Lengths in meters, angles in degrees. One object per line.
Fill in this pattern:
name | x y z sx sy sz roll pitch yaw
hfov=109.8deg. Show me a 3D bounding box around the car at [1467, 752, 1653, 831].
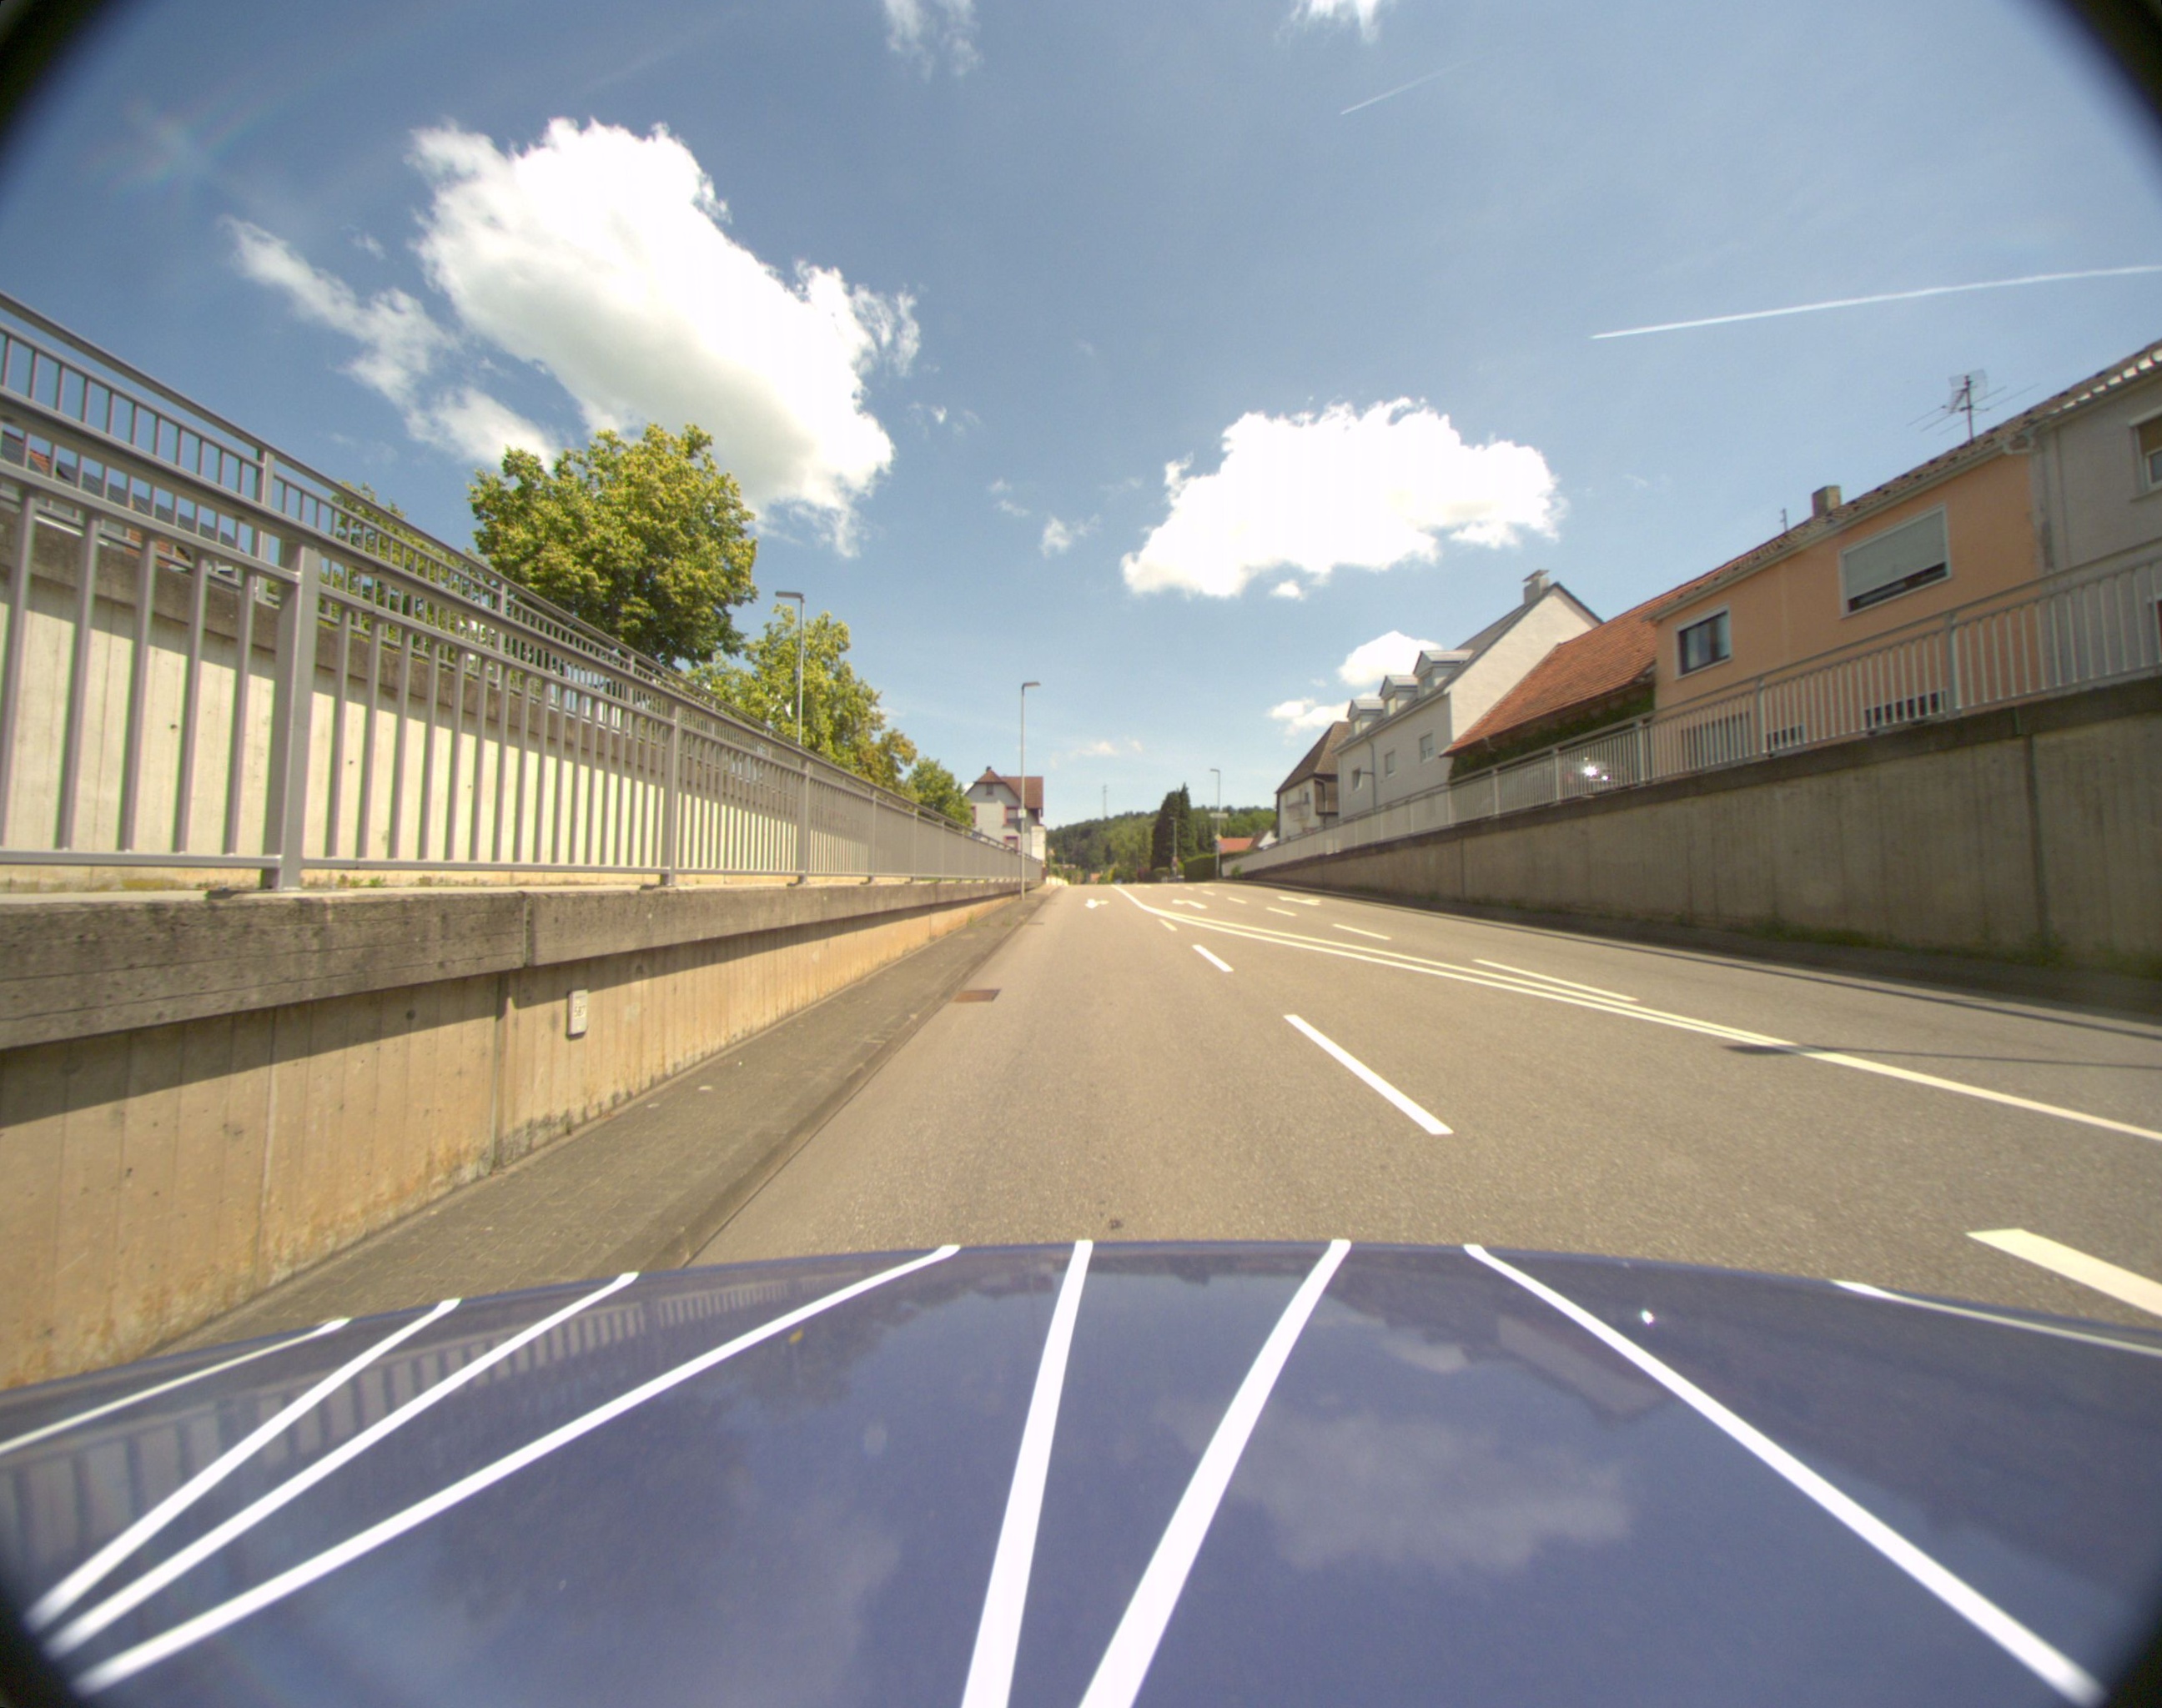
car | 11.767 -1.465 19.089 1.790 1.396 4.394 -1 -2 -1
